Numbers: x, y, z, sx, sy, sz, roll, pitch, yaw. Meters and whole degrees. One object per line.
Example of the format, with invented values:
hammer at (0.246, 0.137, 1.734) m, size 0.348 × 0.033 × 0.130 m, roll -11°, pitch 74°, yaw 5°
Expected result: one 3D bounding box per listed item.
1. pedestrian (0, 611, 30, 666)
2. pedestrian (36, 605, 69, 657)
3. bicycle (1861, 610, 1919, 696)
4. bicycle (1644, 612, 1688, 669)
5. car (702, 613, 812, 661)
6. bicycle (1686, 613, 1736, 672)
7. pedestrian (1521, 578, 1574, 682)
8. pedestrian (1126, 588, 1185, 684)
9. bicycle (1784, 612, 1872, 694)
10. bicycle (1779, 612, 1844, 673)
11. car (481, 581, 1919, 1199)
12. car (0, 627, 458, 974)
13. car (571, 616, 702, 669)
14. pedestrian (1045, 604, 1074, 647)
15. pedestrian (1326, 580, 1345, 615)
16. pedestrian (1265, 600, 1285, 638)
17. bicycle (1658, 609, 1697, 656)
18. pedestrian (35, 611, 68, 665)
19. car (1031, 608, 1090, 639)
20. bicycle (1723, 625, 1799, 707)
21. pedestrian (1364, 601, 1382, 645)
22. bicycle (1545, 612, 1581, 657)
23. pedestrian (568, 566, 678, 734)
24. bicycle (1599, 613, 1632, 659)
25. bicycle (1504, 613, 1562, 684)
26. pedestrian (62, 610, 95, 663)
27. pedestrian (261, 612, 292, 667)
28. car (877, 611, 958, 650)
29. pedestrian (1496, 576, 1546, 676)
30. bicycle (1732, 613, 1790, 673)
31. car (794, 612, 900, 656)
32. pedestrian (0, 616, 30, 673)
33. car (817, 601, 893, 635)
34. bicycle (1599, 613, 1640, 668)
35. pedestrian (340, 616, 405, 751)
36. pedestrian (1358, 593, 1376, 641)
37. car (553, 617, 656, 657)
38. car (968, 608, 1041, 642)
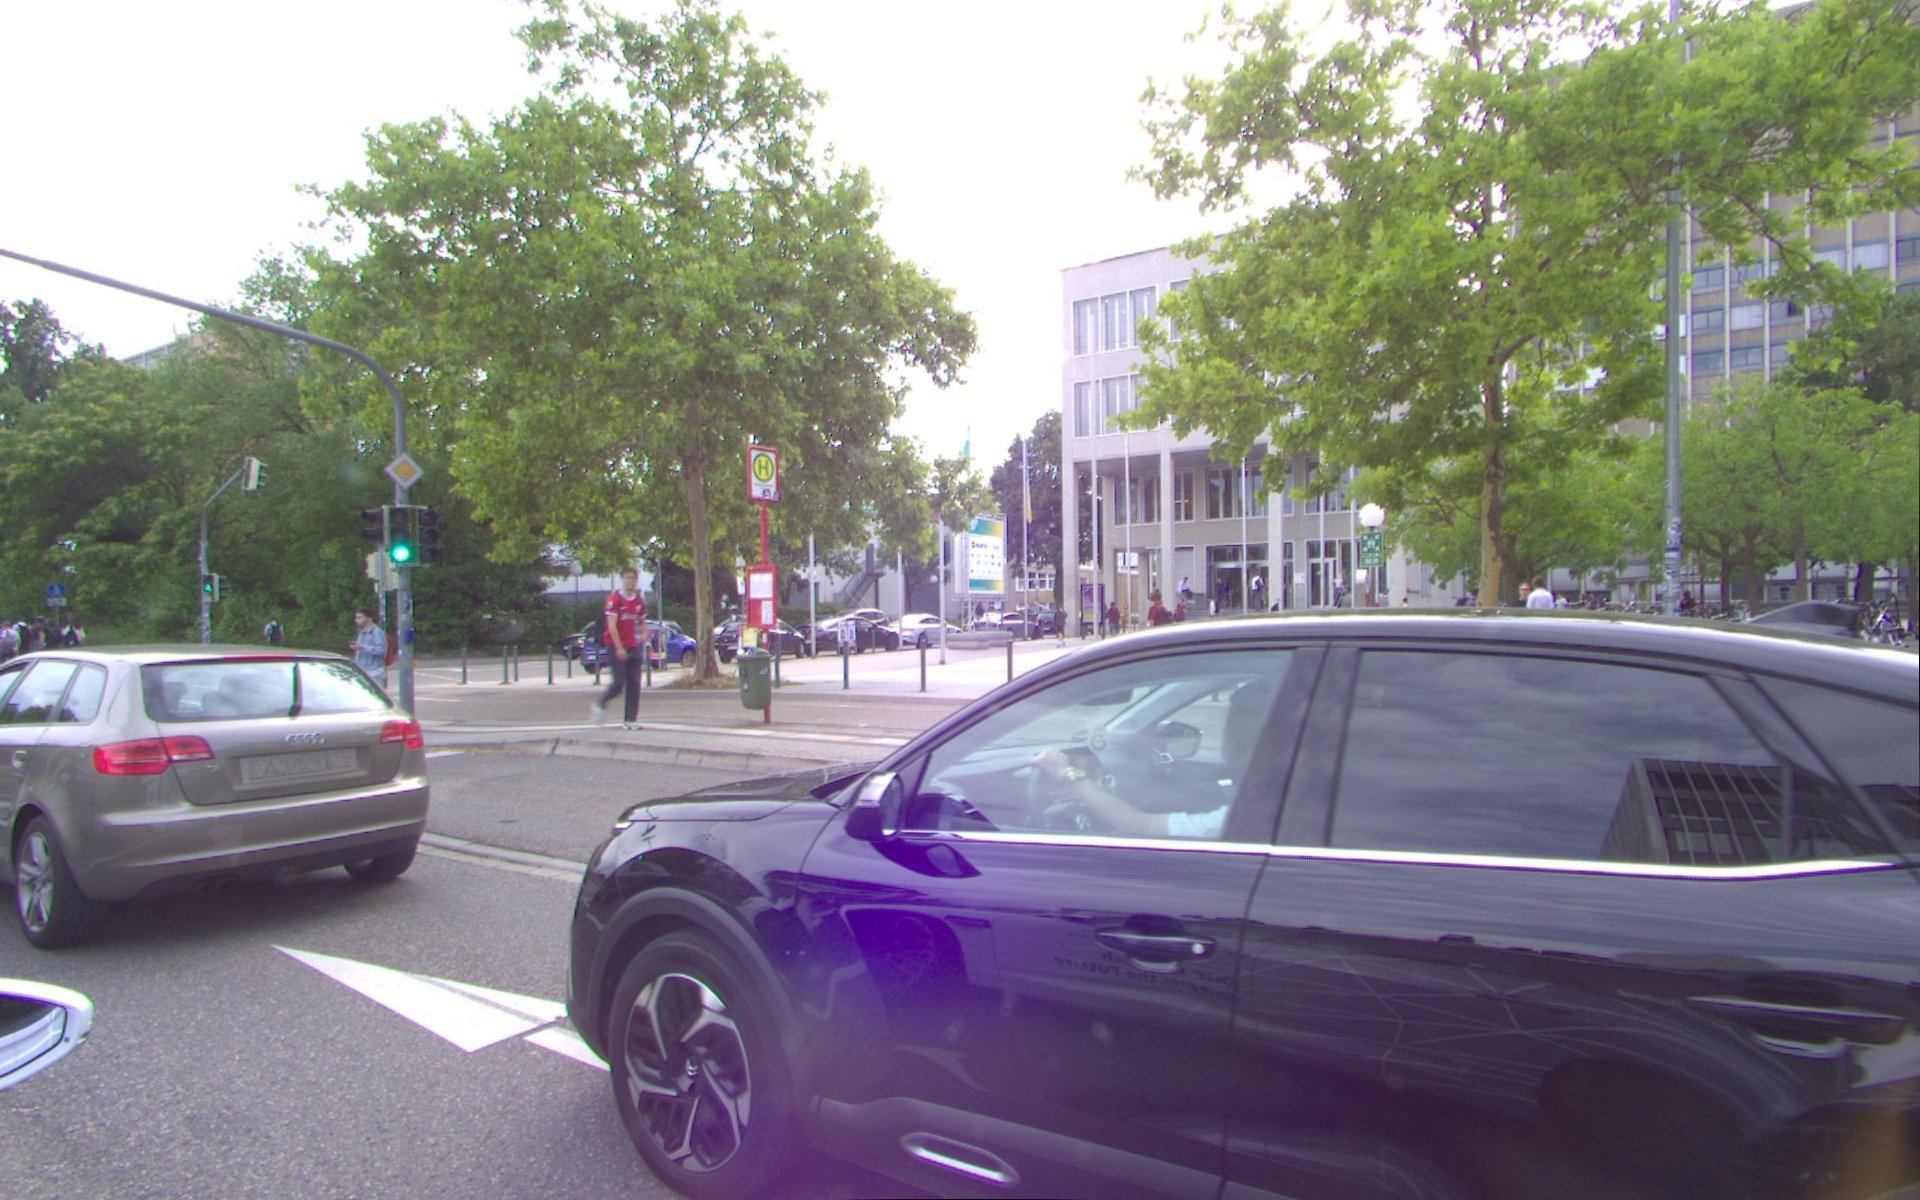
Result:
pedestrian at (-30.957, 1.258, 32.742) m, size 0.769 × 1.768 × 0.622 m, roll 0°, pitch 0°, yaw 34°
pedestrian at (-31.476, 1.071, 34.728) m, size 0.769 × 1.768 × 0.655 m, roll 0°, pitch 0°, yaw 34°
bicycle at (13.671, 0.725, 14.398) m, size 0.708 × 1.157 × 2.460 m, roll -1°, pitch -1°, yaw 34°
bicycle at (15.205, 0.845, 21.599) m, size 0.708 × 1.157 × 2.460 m, roll -1°, pitch -1°, yaw 34°
car at (-6.942, 1.254, 34.606) m, size 1.651 × 1.587 × 3.676 m, roll -2°, pitch -1°, yaw 32°
bicycle at (15.839, 0.867, 21.157) m, size 0.708 × 1.157 × 2.460 m, roll -1°, pitch -1°, yaw 34°
pedestrian at (11.439, 0.589, 19.524) m, size 0.591 × 1.988 × 0.686 m, roll 0°, pitch -1°, yaw -7°
pedestrian at (3.823, 0.699, 19.571) m, size 0.880 × 1.827 × 0.764 m, roll -1°, pitch -2°, yaw 38°
bicycle at (13.242, 0.770, 15.338) m, size 0.708 × 1.157 × 2.460 m, roll -1°, pitch -1°, yaw 34°
bicycle at (17.188, 0.835, 20.251) m, size 0.708 × 1.157 × 2.460 m, roll -1°, pitch -1°, yaw 34°
car at (0.789, 0.806, 2.556) m, size 4.118 × 1.576 × 1.795 m, roll -1°, pitch -2°, yaw 34°
car at (-4.923, 0.911, 6.022) m, size 3.681 × 1.476 × 1.721 m, roll -1°, pitch -1°, yaw 31°
car at (-9.735, 1.256, 30.340) m, size 1.651 × 1.511 × 3.564 m, roll -2°, pitch -1°, yaw 32°
pedestrian at (4.097, 1.048, 41.233) m, size 0.944 × 1.730 × 0.696 m, roll 1°, pitch -2°, yaw -39°
pedestrian at (18.654, -0.123, 49.745) m, size 0.665 × 1.736 × 0.627 m, roll 1°, pitch -2°, yaw -40°
pedestrian at (14.178, 0.863, 45.039) m, size 0.625 × 1.661 × 0.599 m, roll 1°, pitch -1°, yaw -34°
bicycle at (18.381, 0.807, 25.687) m, size 0.708 × 1.157 × 2.460 m, roll -1°, pitch -1°, yaw 34°
pedestrian at (-30.404, 1.264, 33.511) m, size 0.769 × 1.768 × 0.655 m, roll 0°, pitch 0°, yaw 34°
car at (5.564, 1.285, 55.232) m, size 1.651 × 1.587 × 3.969 m, roll -2°, pitch -1°, yaw 32°
bicycle at (12.551, 0.990, 15.739) m, size 0.708 × 1.157 × 2.460 m, roll -1°, pitch -1°, yaw 34°
pedestrian at (15.413, 0.873, 37.401) m, size 0.592 × 1.617 × 0.726 m, roll 0°, pitch -1°, yaw 20°
bicycle at (16.315, 0.901, 27.067) m, size 0.708 × 1.157 × 2.460 m, roll -1°, pitch -1°, yaw 34°
pedestrian at (-3.980, 0.573, 11.826) m, size 1.049 × 1.878 × 0.724 m, roll -1°, pitch 0°, yaw 31°
bicycle at (17.294, 0.914, 26.406) m, size 0.708 × 1.157 × 2.460 m, roll -1°, pitch -1°, yaw 34°
bicycle at (10.117, 0.812, 17.639) m, size 0.708 × 1.157 × 2.459 m, roll -1°, pitch -1°, yaw 34°
pedestrian at (-30.003, 1.241, 34.075) m, size 0.769 × 1.768 × 0.655 m, roll 0°, pitch 0°, yaw 34°
pedestrian at (-23.132, 1.332, 33.898) m, size 0.730 × 1.819 × 0.643 m, roll -1°, pitch 0°, yaw 34°
car at (-1.782, 1.289, 43.151) m, size 1.651 × 1.587 × 3.812 m, roll -2°, pitch -1°, yaw 32°
pedestrian at (11.345, 0.522, 20.270) m, size 0.591 × 1.988 × 0.686 m, roll 0°, pitch -1°, yaw -7°
bicycle at (16.526, 0.853, 20.700) m, size 0.708 × 1.157 × 2.460 m, roll -1°, pitch -1°, yaw 34°
car at (-4.297, 1.300, 38.713) m, size 1.651 × 1.587 × 4.430 m, roll -2°, pitch -2°, yaw 32°
pedestrian at (-28.953, 1.349, 30.683) m, size 0.628 × 1.709 × 0.544 m, roll -1°, pitch 0°, yaw 34°
car at (-5.434, 0.951, 52.304) m, size 1.661 × 1.714 × 4.272 m, roll -2°, pitch -1°, yaw 33°
bicycle at (14.528, 0.866, 22.063) m, size 0.708 × 1.157 × 2.460 m, roll -1°, pitch -1°, yaw 34°
pedestrian at (-8.305, 1.153, 14.152) m, size 0.673 × 1.840 × 0.571 m, roll -1°, pitch 0°, yaw 36°
pedestrian at (15.959, 0.690, 39.244) m, size 0.592 × 1.867 × 0.727 m, roll 0°, pitch -1°, yaw 18°
car at (-13.997, 1.442, 39.583) m, size 1.661 × 1.460 × 3.563 m, roll -2°, pitch -2°, yaw 33°
car at (2.241, 1.249, 49.808) m, size 1.789 × 1.587 × 4.207 m, roll -2°, pitch -2°, yaw 32°
